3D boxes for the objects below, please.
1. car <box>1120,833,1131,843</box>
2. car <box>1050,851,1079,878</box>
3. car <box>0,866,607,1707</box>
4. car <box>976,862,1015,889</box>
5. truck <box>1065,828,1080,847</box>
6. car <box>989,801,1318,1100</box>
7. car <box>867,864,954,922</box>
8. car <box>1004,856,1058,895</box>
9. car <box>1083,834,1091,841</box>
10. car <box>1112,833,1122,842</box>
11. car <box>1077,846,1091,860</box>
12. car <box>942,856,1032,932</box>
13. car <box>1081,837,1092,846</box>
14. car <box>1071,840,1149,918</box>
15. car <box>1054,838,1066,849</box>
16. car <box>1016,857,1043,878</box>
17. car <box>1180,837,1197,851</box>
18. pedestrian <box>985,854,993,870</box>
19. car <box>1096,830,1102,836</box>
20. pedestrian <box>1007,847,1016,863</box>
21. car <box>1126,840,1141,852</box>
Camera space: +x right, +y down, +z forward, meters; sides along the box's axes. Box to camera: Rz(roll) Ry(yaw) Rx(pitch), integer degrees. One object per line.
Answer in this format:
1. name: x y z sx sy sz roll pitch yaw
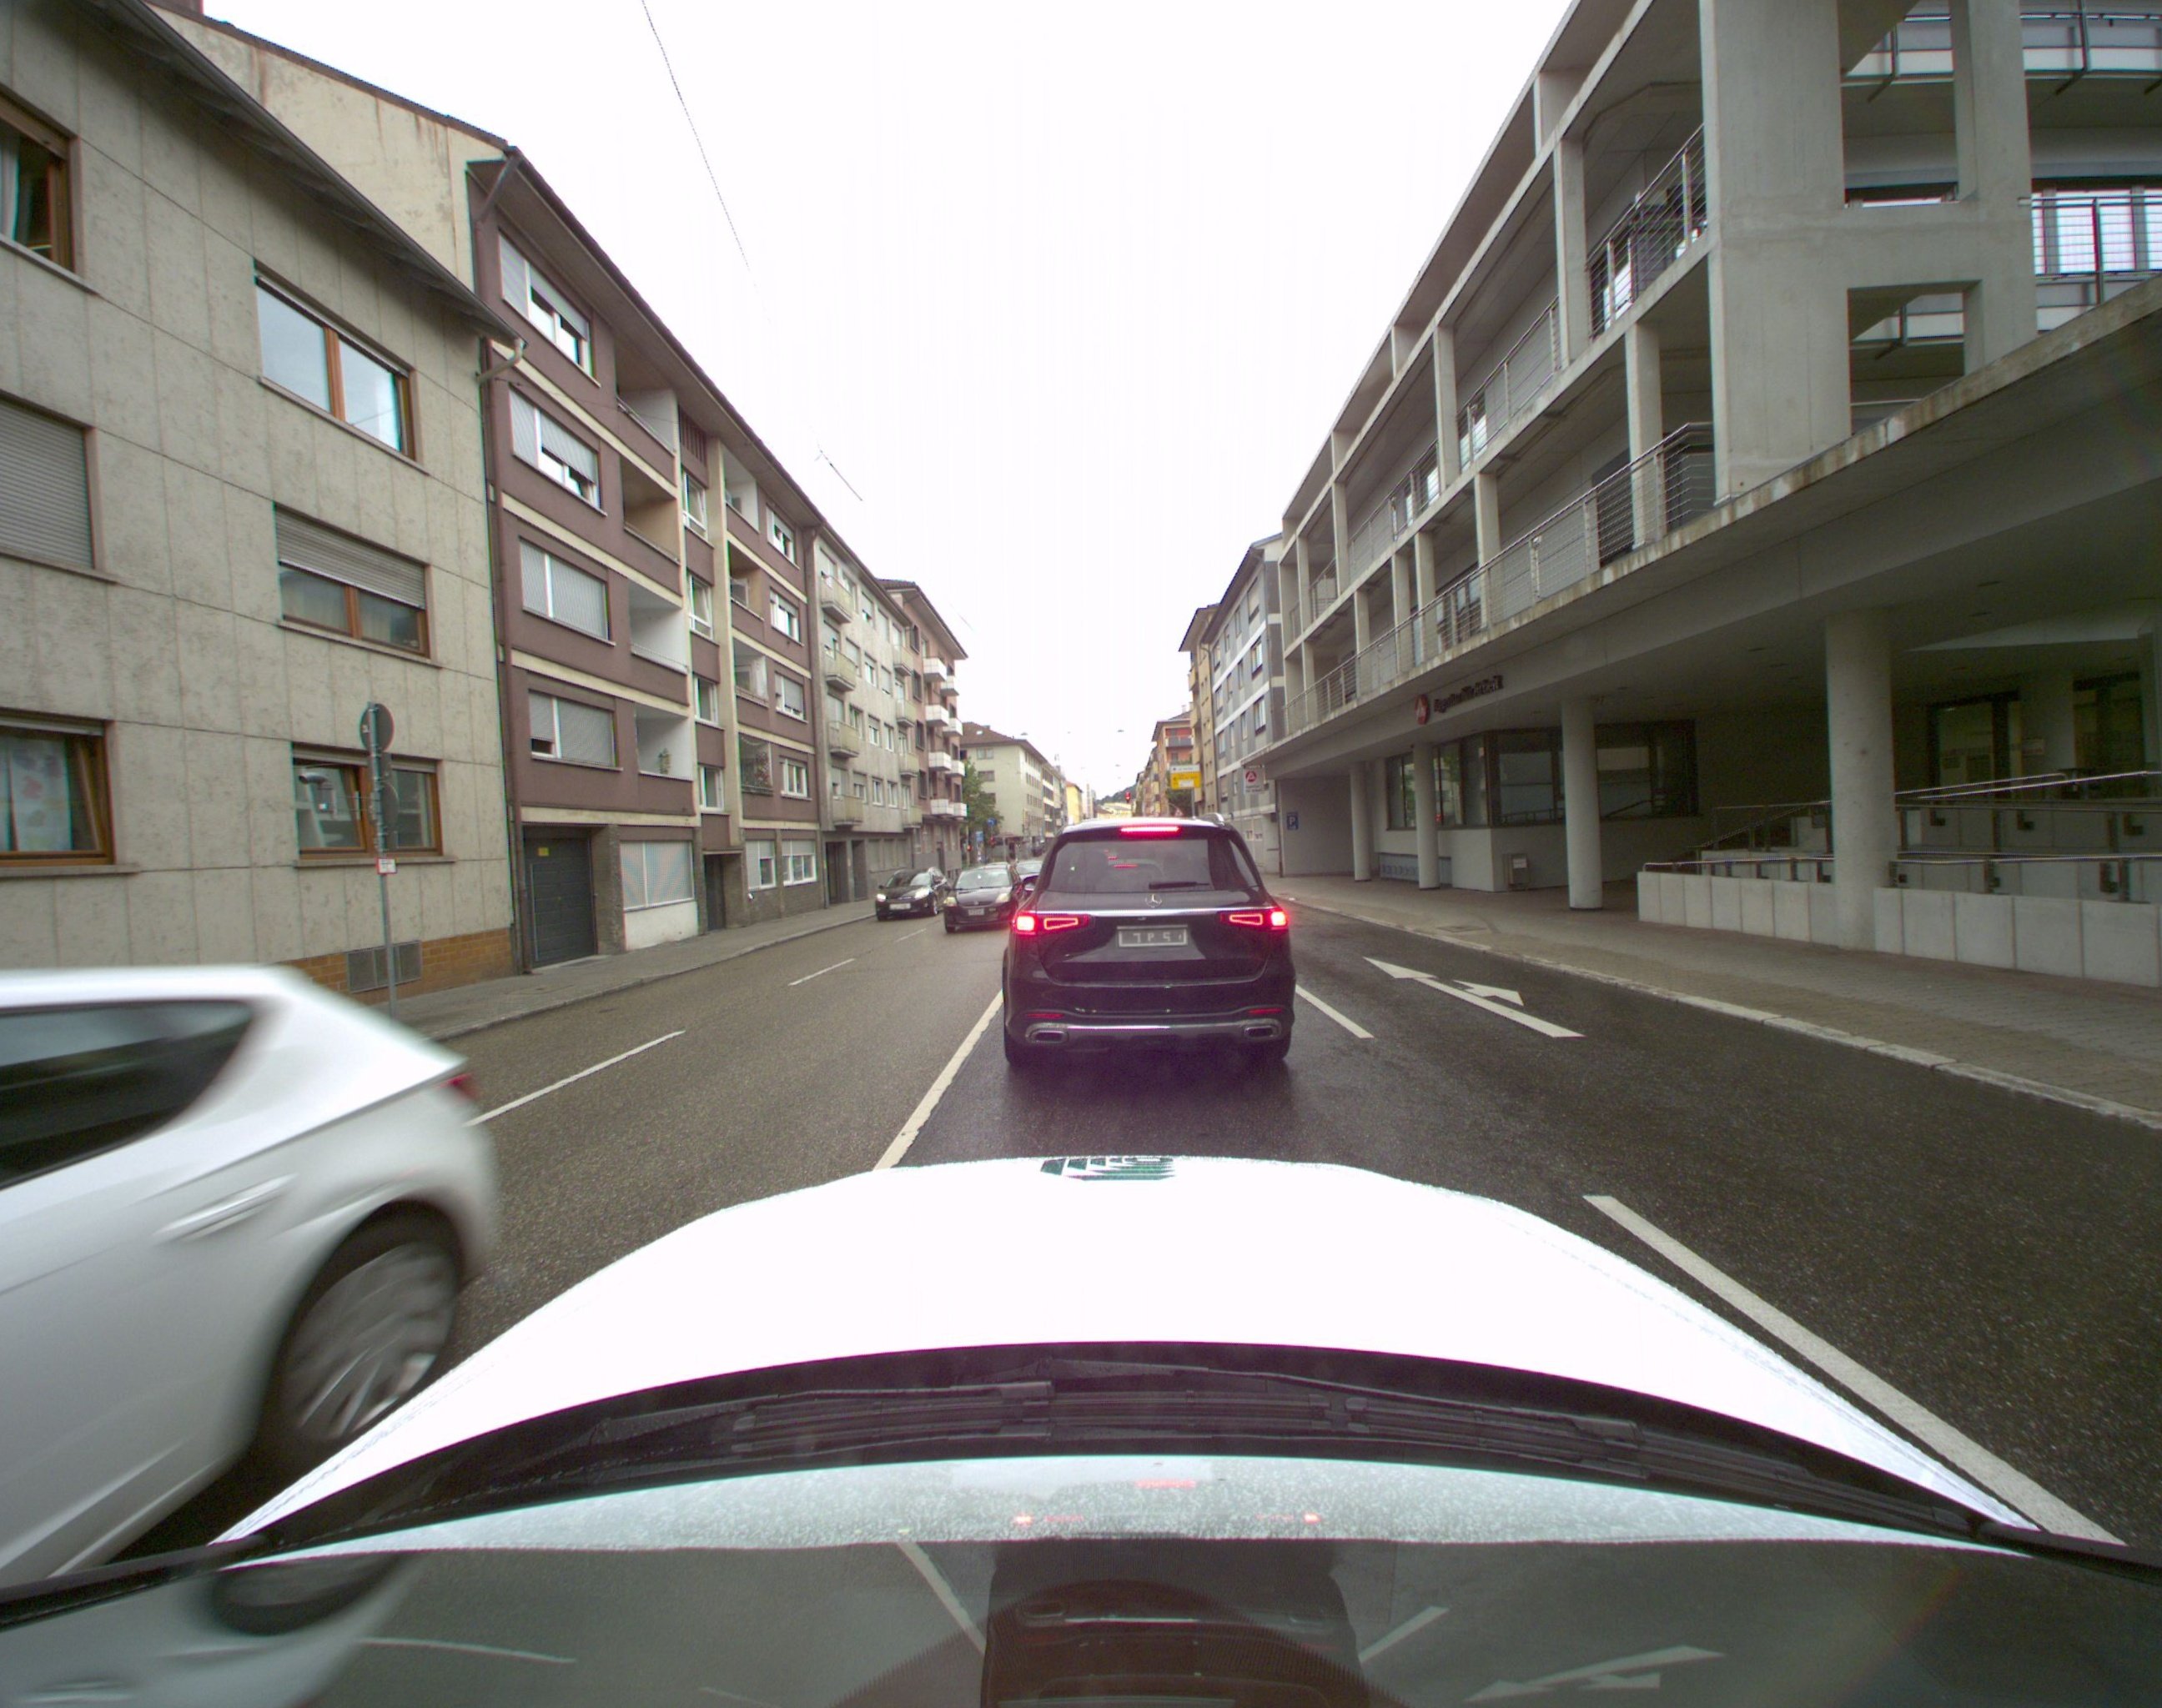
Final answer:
1. car: 7.749 -2.871 143.204 1.613 1.539 4.216 -4 -1 0
2. car: -1.071 0.729 54.650 1.689 1.580 4.218 -5 -1 1
3. car: -2.787 0.863 1.122 1.738 1.539 4.053 -4 -1 1
4. car: -4.910 1.209 47.204 1.689 1.370 4.366 -5 -1 0
5. truck: -1.606 -3.149 157.371 2.472 3.046 9.917 -4 -1 0
6. car: 0.505 0.604 7.136 1.977 1.805 4.391 0 -1 2
7. car: -5.324 1.163 26.029 1.717 1.473 4.374 -5 0 0
8. car: -1.979 0.860 33.494 1.688 1.370 4.220 -5 -1 2
9. car: 1.447 -3.920 193.970 1.613 1.539 4.216 -4 -1 0
10. car: 7.109 -3.342 162.199 1.613 1.539 4.216 -4 -1 0
11. car: 0.376 -0.119 101.430 1.613 1.539 4.216 -4 -1 0
12. car: -2.195 0.895 19.981 1.613 1.539 4.216 -4 -1 0
13. car: 0.960 -2.184 144.858 1.879 1.264 4.216 -4 -1 0
14. car: 0.662 0.591 20.958 1.746 1.731 4.216 -2 -1 0
15. car: -3.394 -1.688 131.947 1.613 1.539 4.216 -4 -1 0
16. car: -3.938 1.020 62.403 1.593 1.370 4.362 -6 0 1
17. car: 12.471 -1.143 94.538 1.664 1.588 3.334 -3 0 4
18. pedestrian: -10.426 0.866 92.099 0.636 1.764 0.769 -3 0 -14
19. car: 5.543 -6.333 250.436 1.613 1.539 4.216 -4 -1 0
20. pedestrian: -8.758 0.148 102.330 0.920 1.902 0.706 -3 0 0
21. car: 6.812 -1.036 106.164 1.613 1.387 4.216 -4 -1 0
